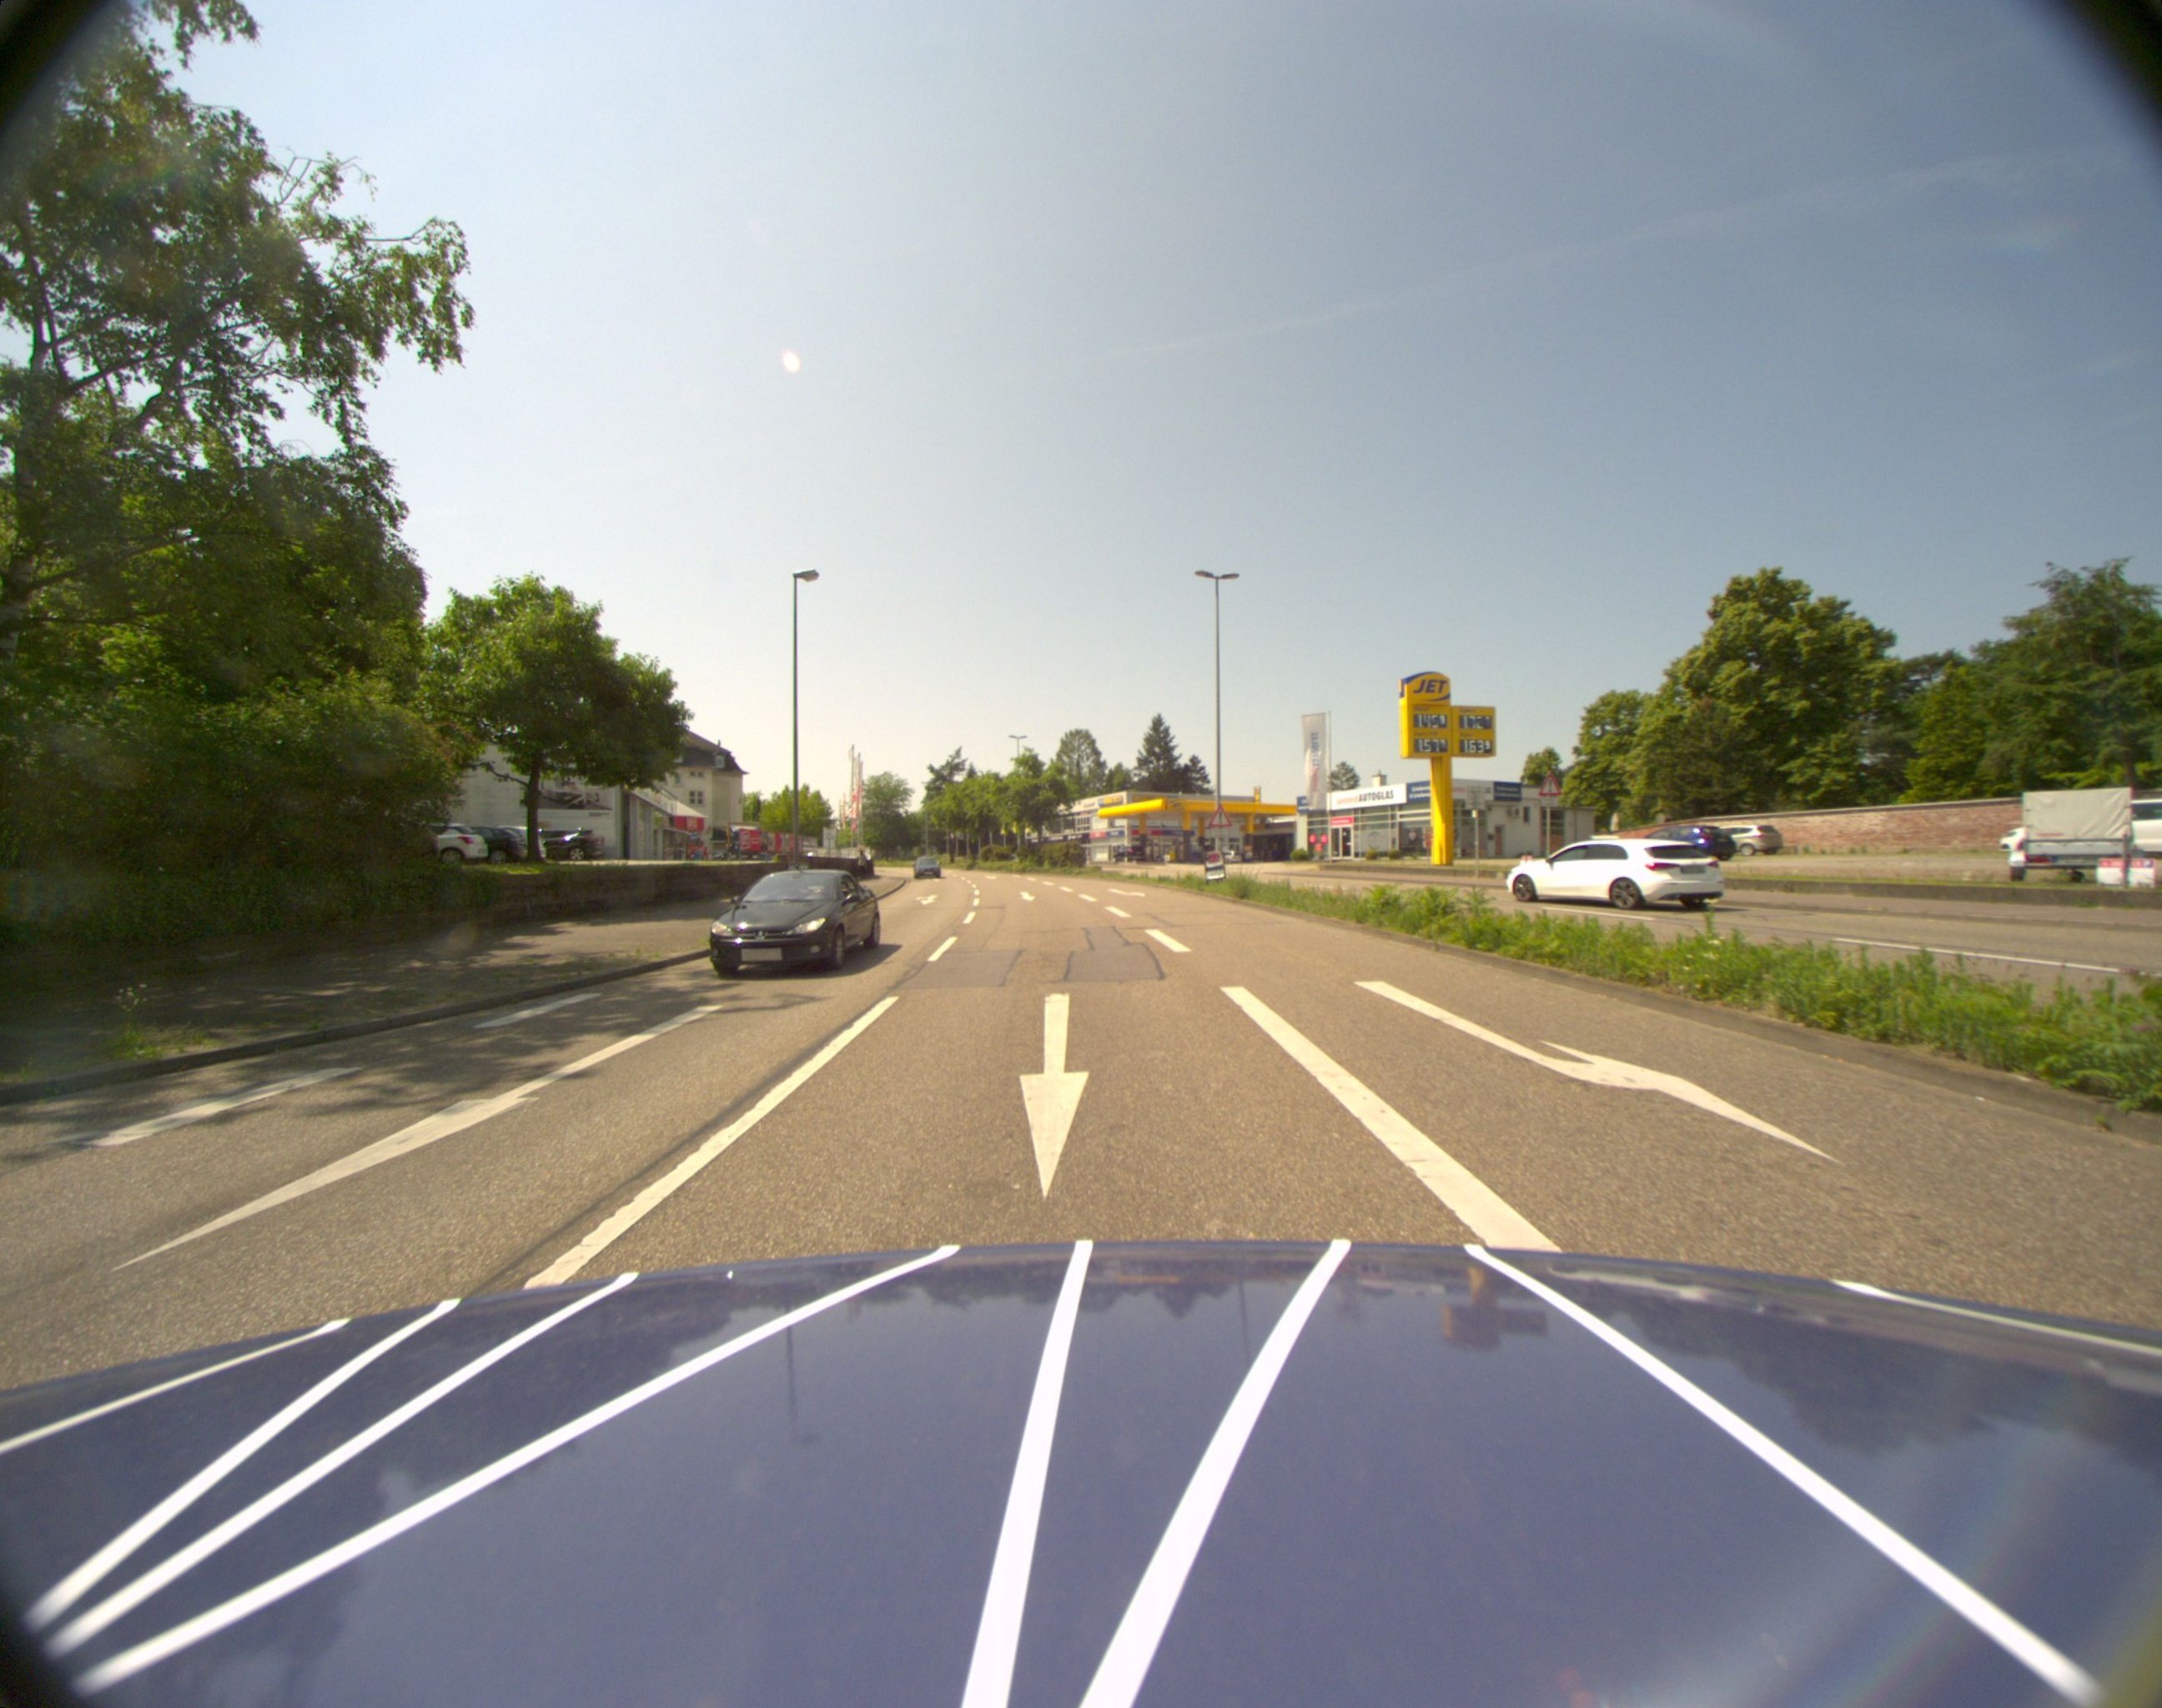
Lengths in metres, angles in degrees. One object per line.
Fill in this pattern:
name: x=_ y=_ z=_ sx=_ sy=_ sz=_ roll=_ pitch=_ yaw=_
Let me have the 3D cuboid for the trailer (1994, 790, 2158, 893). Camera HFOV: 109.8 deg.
trailer: x=18.169 y=-0.229 z=13.989 sx=2.439 sy=1.694 sz=1.689 roll=-2 pitch=1 yaw=-41

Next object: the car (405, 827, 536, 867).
car: x=-22.123 y=-0.261 z=27.658 sx=3.324 sy=1.377 sz=1.656 roll=-1 pitch=1 yaw=-21

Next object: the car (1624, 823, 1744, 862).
car: x=25.099 y=-0.454 z=31.795 sx=1.695 sy=1.497 sz=3.626 roll=-2 pitch=1 yaw=-16

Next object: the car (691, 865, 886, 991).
car: x=-4.147 y=0.963 z=11.402 sx=1.604 sy=1.417 sz=3.659 roll=-1 pitch=2 yaw=-2

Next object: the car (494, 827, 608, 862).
car: x=-24.585 y=-0.436 z=35.414 sx=4.004 sy=1.531 sz=1.735 roll=-1 pitch=1 yaw=-21

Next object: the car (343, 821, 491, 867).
car: x=-21.701 y=-0.332 z=24.969 sx=3.293 sy=1.403 sz=1.527 roll=-1 pitch=1 yaw=-21

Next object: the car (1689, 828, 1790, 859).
car: x=33.641 y=-0.536 z=38.940 sx=1.621 sy=1.497 sz=3.626 roll=-2 pitch=1 yaw=-16

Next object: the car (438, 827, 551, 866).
car: x=-23.074 y=-0.305 z=30.010 sx=3.157 sy=1.463 sz=1.501 roll=-1 pitch=1 yaw=-18

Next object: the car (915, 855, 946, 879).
car: x=-9.903 y=0.821 z=49.771 sx=1.700 sy=1.366 sz=3.993 roll=0 pitch=2 yaw=-15

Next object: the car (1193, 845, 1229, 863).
car: x=12.308 y=-0.019 z=72.239 sx=1.658 sy=1.534 sz=4.207 roll=-3 pitch=1 yaw=-18

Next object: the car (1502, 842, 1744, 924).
car: x=11.378 y=0.514 z=16.385 sx=1.873 sy=1.417 sz=4.264 roll=-3 pitch=2 yaw=-6

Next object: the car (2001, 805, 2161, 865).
car: x=30.176 y=-0.540 z=21.660 sx=1.695 sy=1.640 sz=4.750 roll=-2 pitch=1 yaw=-18
